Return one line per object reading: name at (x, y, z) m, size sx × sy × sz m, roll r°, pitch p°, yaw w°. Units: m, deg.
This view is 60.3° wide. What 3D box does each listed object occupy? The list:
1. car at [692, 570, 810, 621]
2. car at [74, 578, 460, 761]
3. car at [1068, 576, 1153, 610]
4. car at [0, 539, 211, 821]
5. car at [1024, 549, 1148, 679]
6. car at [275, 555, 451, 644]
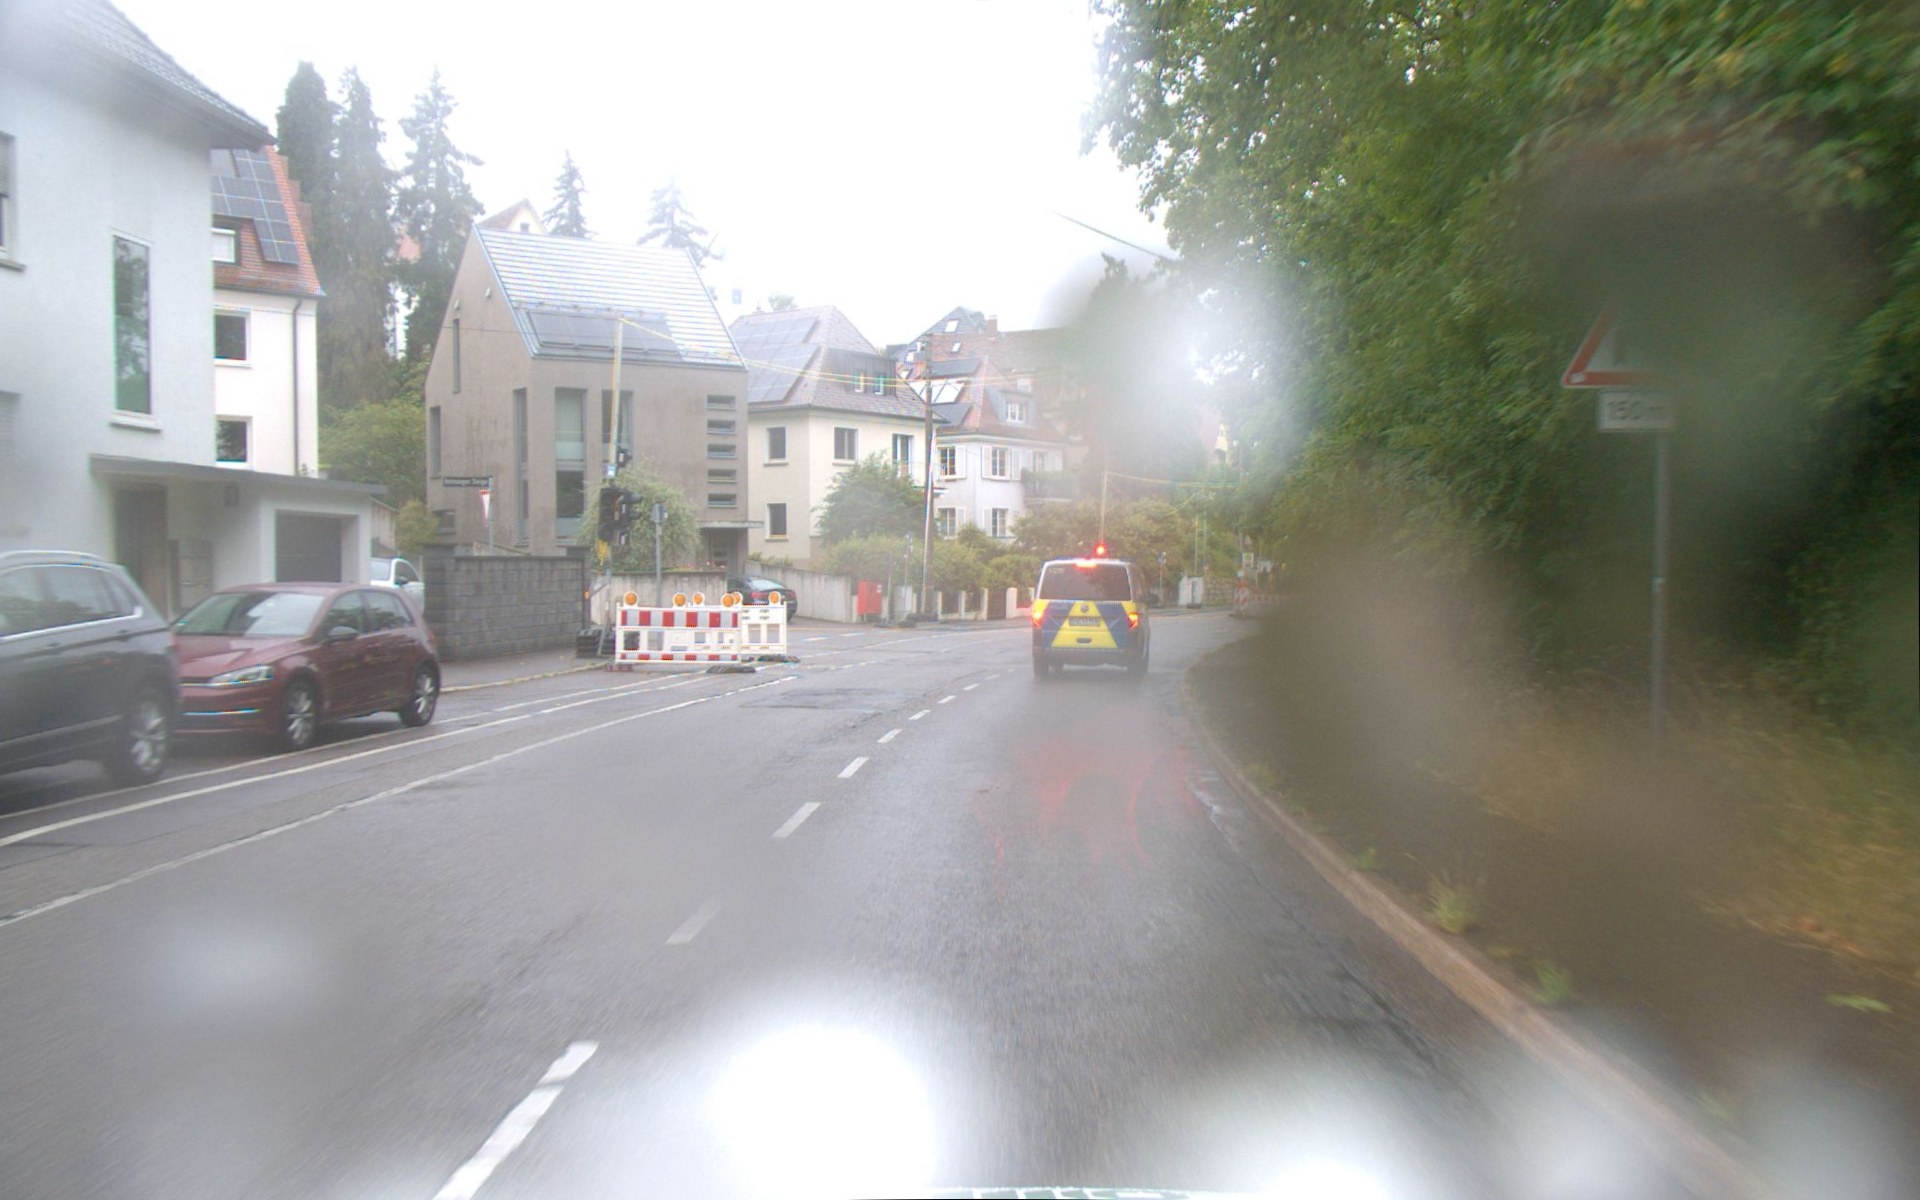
car at (-6.557, -0.172, 51.684) m, size 1.822 × 1.469 × 3.942 m, roll 0°, pitch 1°, yaw -40°
car at (-6.369, 0.544, 15.772) m, size 1.582 × 1.465 × 4.233 m, roll 0°, pitch 1°, yaw 5°
car at (7.641, -0.371, 84.144) m, size 3.911 × 1.512 × 1.757 m, roll 2°, pitch -1°, yaw 28°
car at (-6.612, 0.489, 10.476) m, size 1.718 × 1.687 × 4.404 m, roll -1°, pitch 1°, yaw -1°
car at (2.266, 0.195, 28.753) m, size 1.951 × 2.049 × 4.405 m, roll 1°, pitch 1°, yaw 6°
car at (-10.553, -0.019, 29.493) m, size 1.739 × 1.489 × 3.617 m, roll 0°, pitch 0°, yaw 2°
